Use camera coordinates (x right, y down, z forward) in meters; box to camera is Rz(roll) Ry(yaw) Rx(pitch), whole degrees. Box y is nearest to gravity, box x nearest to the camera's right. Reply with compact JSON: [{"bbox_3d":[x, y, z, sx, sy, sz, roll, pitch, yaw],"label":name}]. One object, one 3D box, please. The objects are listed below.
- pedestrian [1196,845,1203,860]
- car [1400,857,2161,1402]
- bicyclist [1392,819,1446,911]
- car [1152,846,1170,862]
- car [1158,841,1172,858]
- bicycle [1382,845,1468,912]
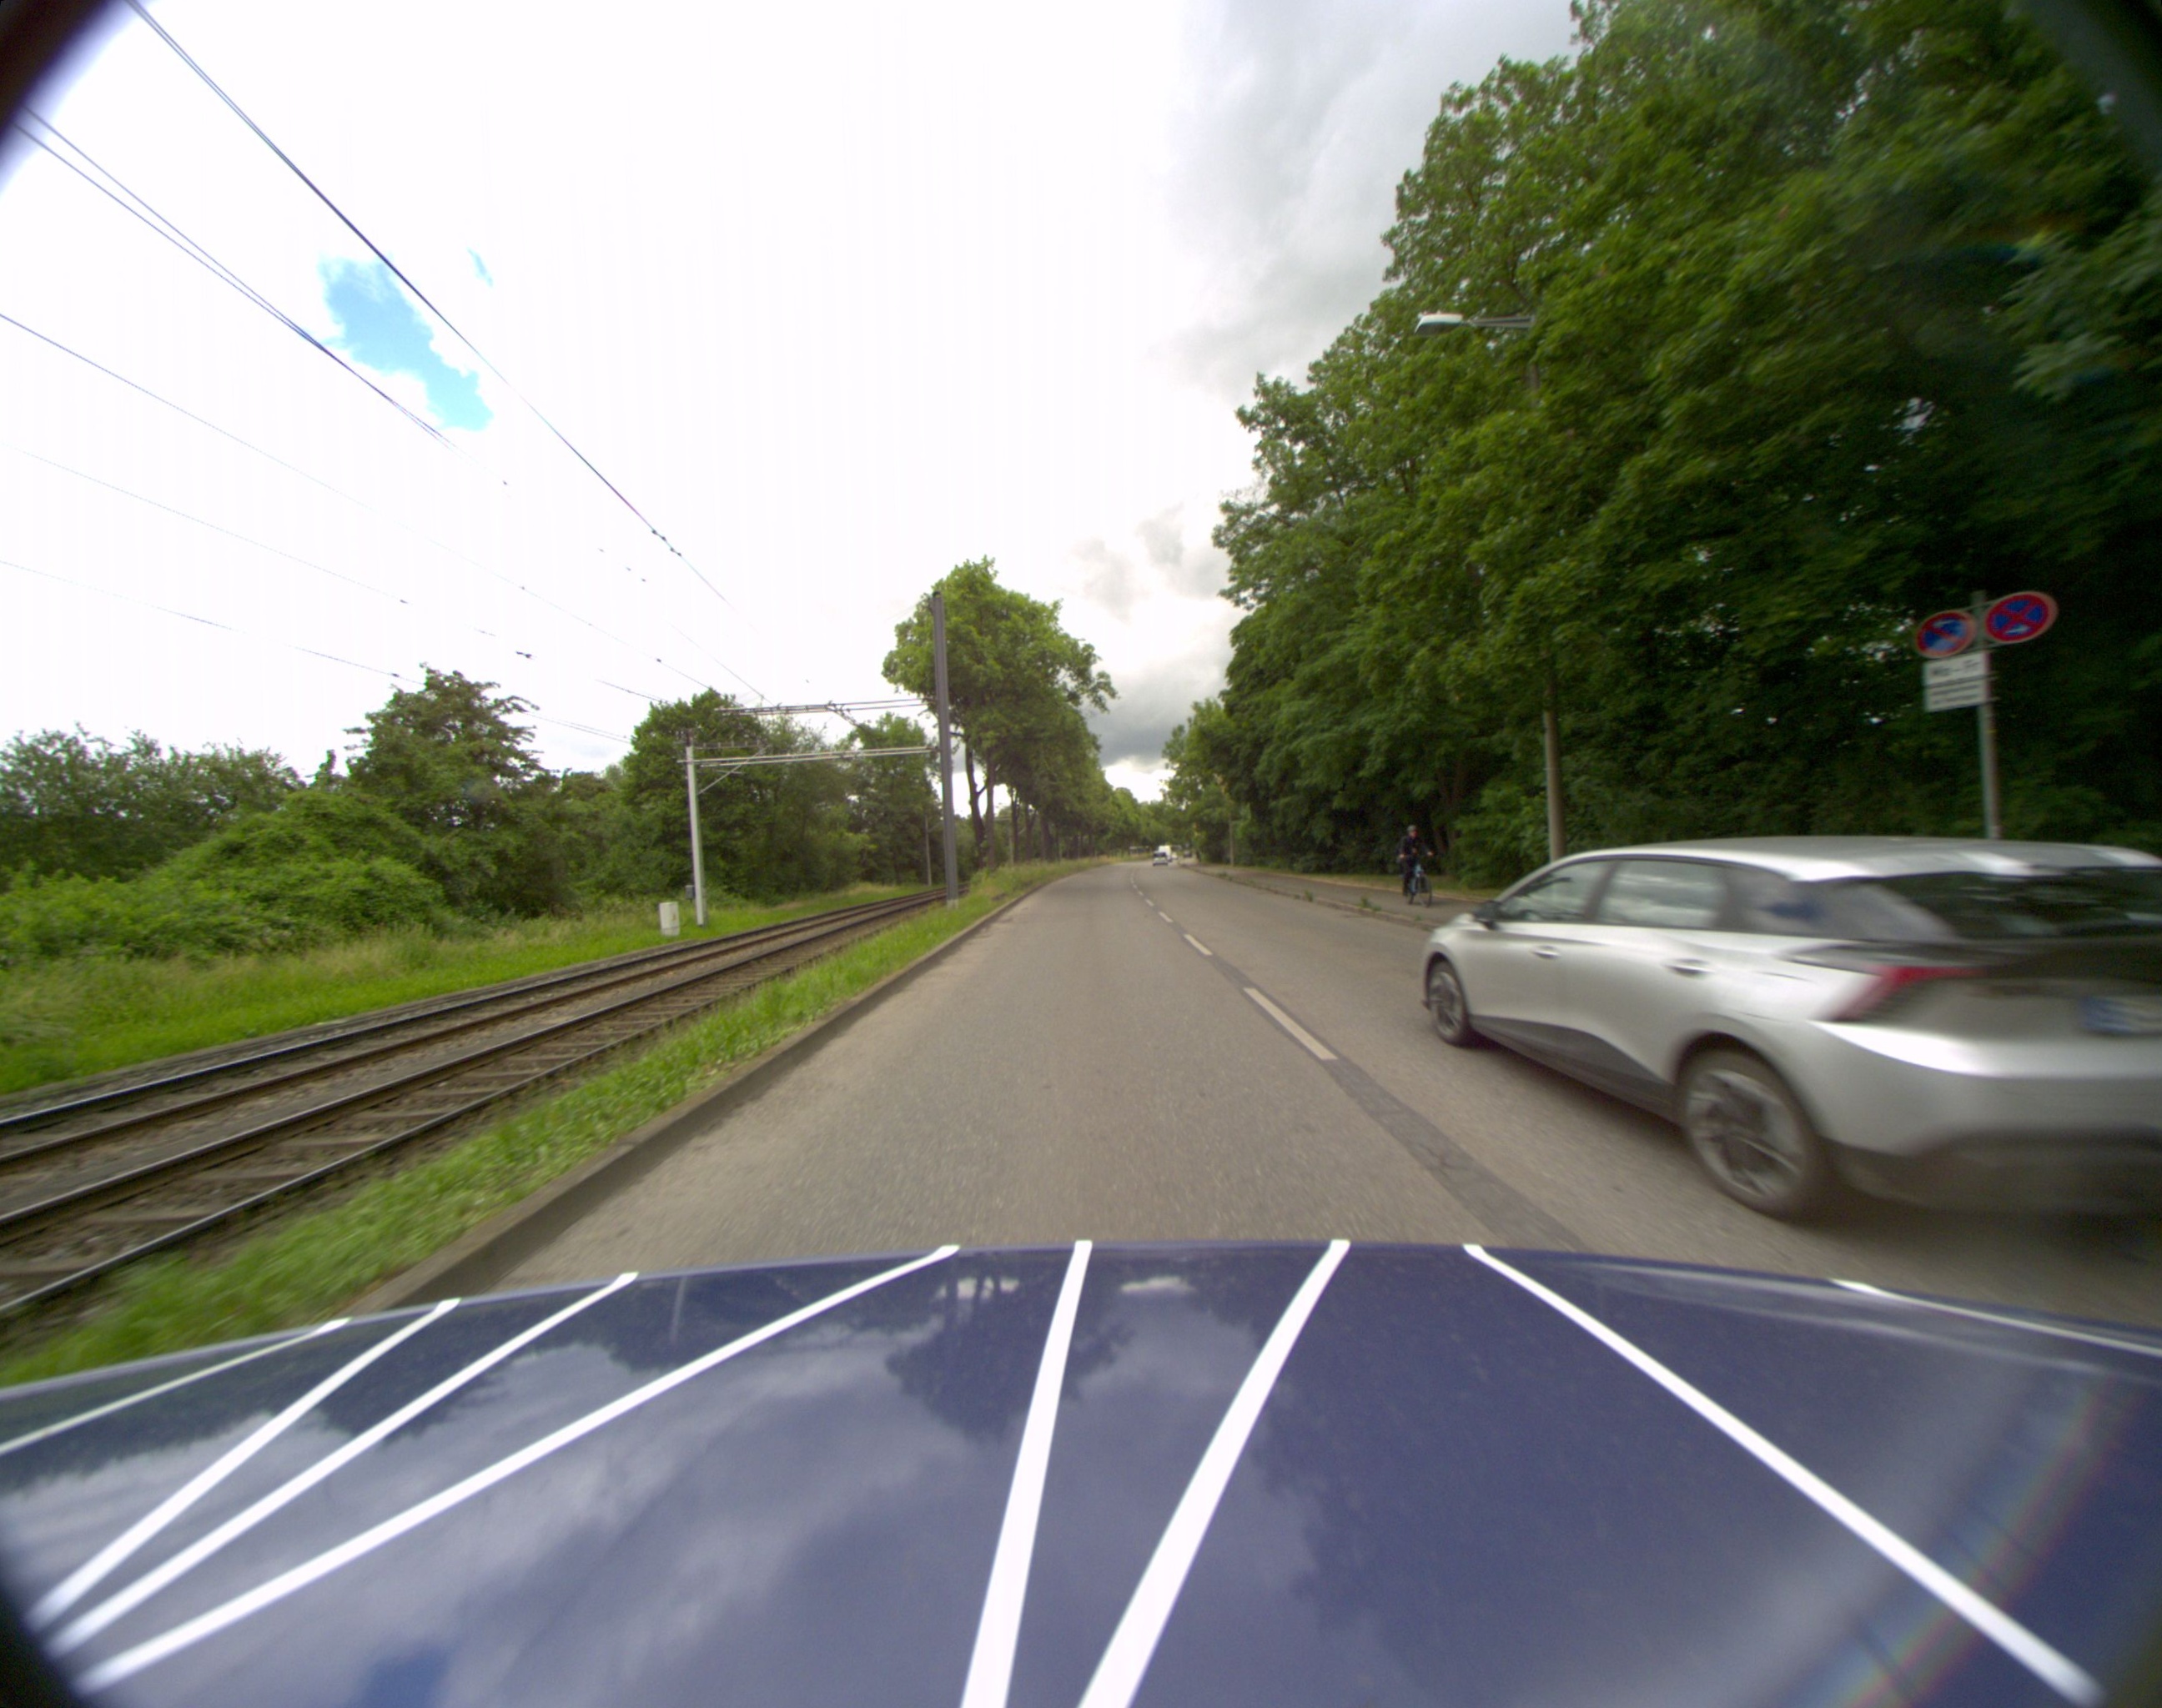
[{"bbox_3d":[13.802,-0.167,88.421,0.600,1.704,0.815,-5,0,4],"label":"pedestrian"},{"bbox_3d":[3.509,0.782,4.195,1.798,1.483,4.180,-1,0,1],"label":"car"},{"bbox_3d":[7.483,0.246,16.841,0.688,1.937,0.835,-4,1,-2],"label":"bicyclist"},{"bbox_3d":[9.910,0.002,94.341,1.860,1.788,4.557,-2,0,2],"label":"car"},{"bbox_3d":[13.616,-0.639,123.005,1.998,2.611,5.896,-2,0,4],"label":"car"},{"bbox_3d":[7.512,0.518,16.730,0.700,1.323,2.280,-5,0,-2],"label":"bicycle"}]
